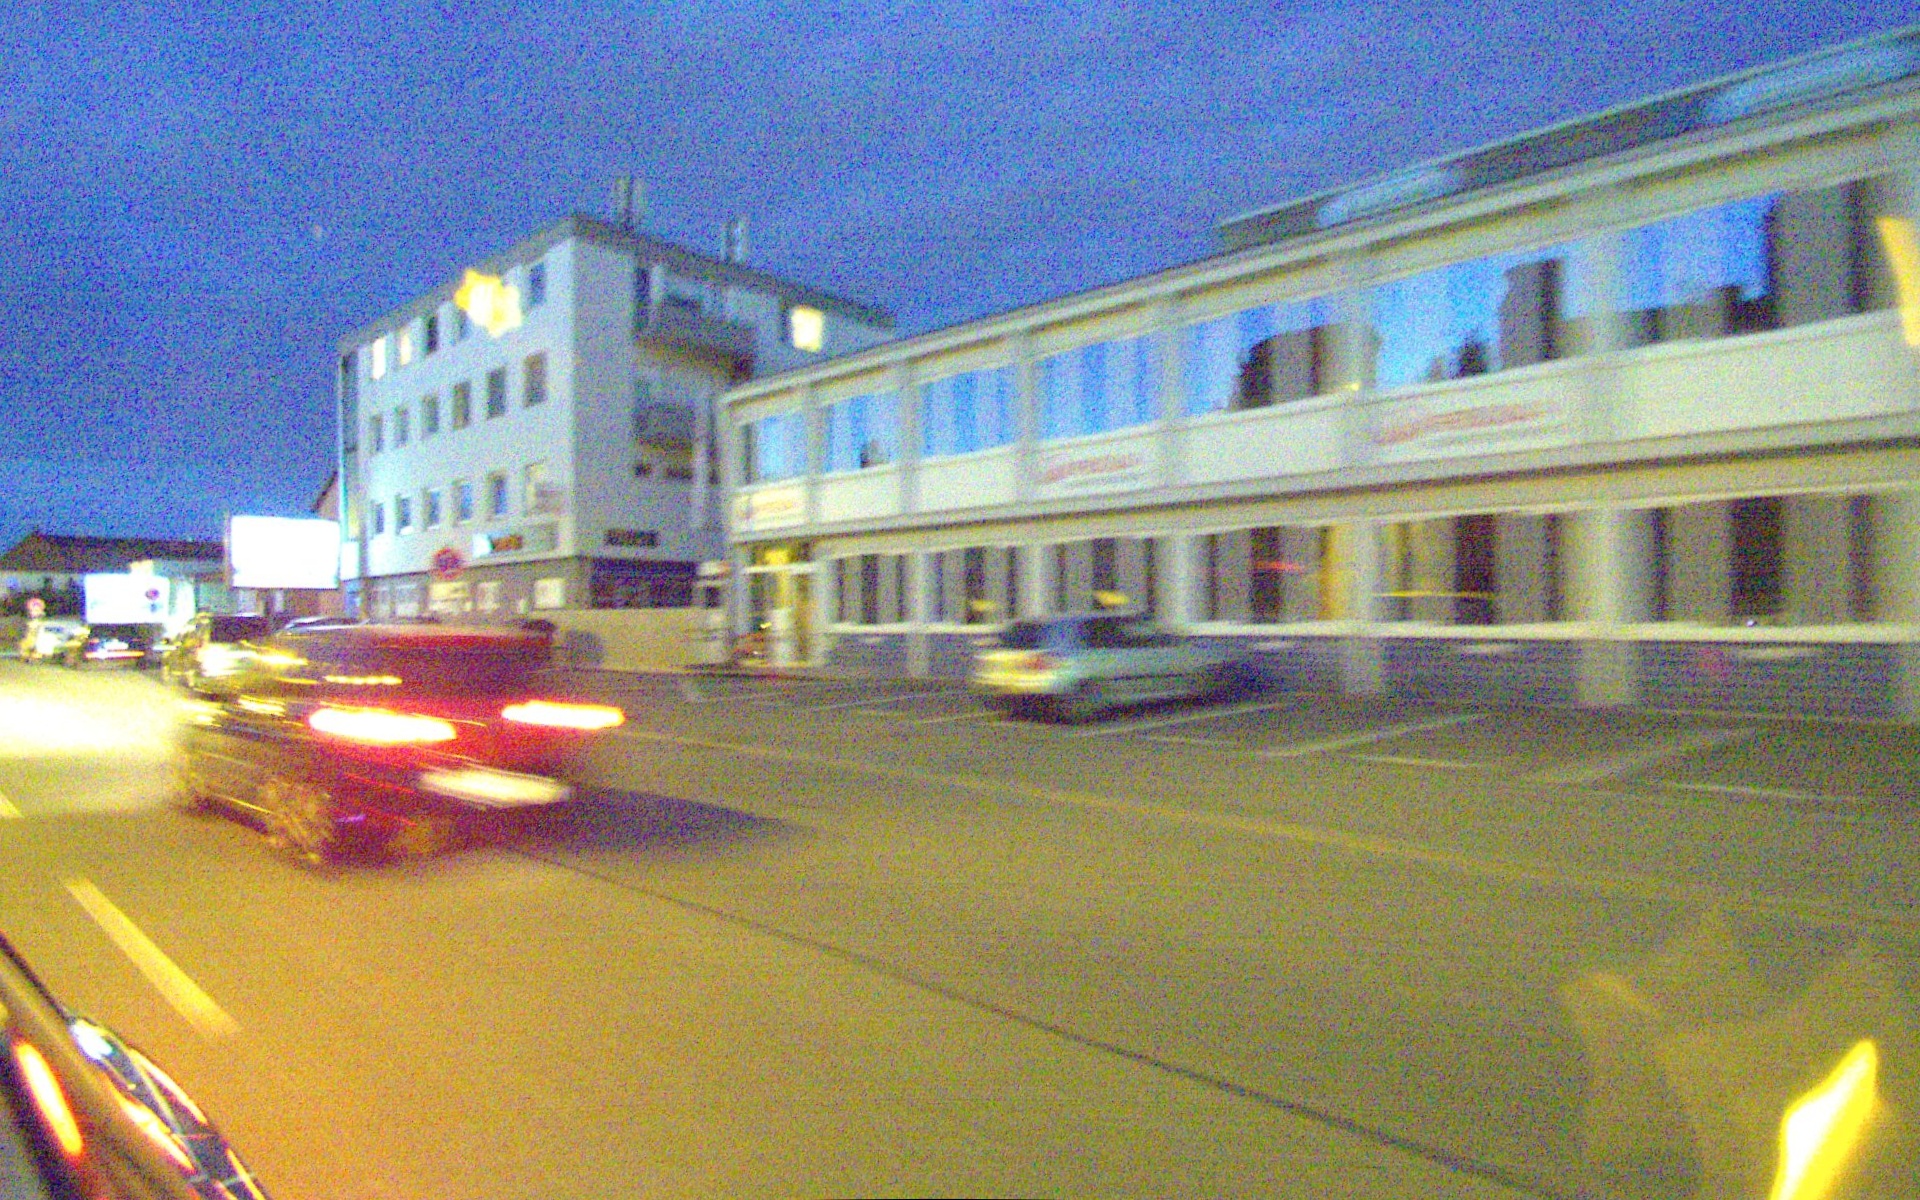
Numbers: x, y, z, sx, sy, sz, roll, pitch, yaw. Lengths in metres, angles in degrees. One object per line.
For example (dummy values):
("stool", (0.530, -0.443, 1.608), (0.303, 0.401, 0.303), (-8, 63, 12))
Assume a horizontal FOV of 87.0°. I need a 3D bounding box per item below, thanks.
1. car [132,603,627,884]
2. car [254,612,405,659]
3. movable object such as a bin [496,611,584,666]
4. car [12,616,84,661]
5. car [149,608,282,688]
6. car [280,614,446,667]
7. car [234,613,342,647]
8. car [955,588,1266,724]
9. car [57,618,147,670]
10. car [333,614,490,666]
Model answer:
("car", (-4.265, 0.768, 7.178), (3.998, 1.431, 1.838), (-1, -1, 41))
("car", (-22.450, 1.221, 36.254), (1.983, 1.572, 4.390), (-1, -1, 17))
("movable object such as a bin", (-12.129, 1.088, 29.252), (1.609, 1.511, 1.838), (-1, -1, 42))
("car", (-38.500, 1.605, 42.677), (4.877, 1.812, 1.785), (-2, -2, 42))
("car", (-19.049, 1.170, 25.828), (4.412, 1.863, 1.795), (-1, -1, 41))
("car", (-18.936, 1.255, 32.400), (1.980, 1.563, 4.653), (-1, -1, 12))
("car", (-34.384, 1.510, 51.862), (1.923, 1.666, 4.351), (-2, -2, 44))
("car", (2.201, 0.708, 14.567), (4.072, 1.443, 1.902), (-5, 1, -30))
("car", (-30.335, 1.508, 35.743), (4.817, 1.701, 1.925), (-2, -2, 44))
("car", (-16.464, 1.174, 30.665), (1.775, 1.451, 4.397), (-1, -1, 12))
